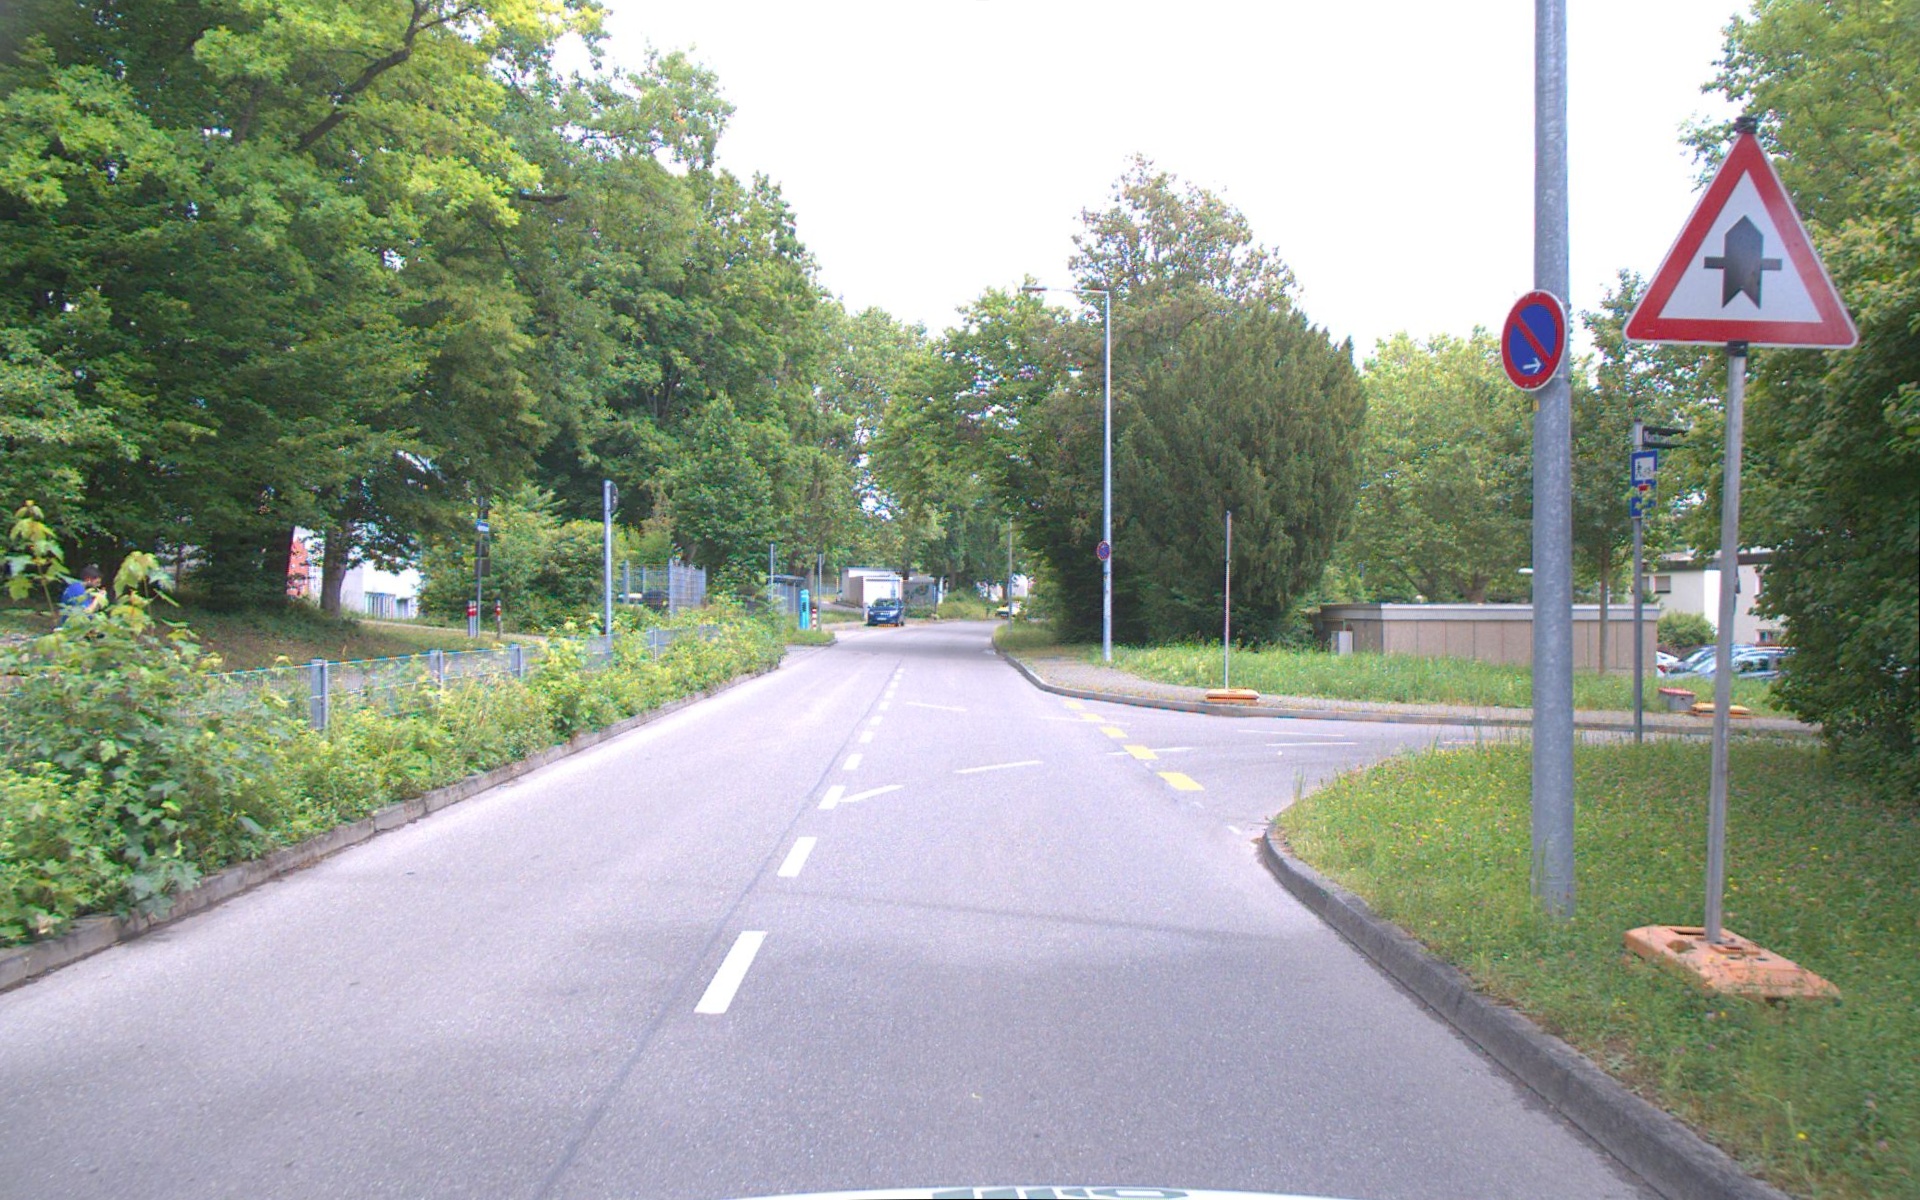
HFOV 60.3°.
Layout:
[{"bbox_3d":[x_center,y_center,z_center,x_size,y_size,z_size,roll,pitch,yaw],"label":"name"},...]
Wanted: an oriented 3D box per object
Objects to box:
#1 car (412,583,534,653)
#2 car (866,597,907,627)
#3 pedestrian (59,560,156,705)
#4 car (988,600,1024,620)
[{"bbox_3d":[-14.836,0.514,50.597,1.951,2.049,4.003,0,0,11],"label":"car"},{"bbox_3d":[-3.998,0.666,90.263,1.644,1.538,4.433,1,0,5],"label":"car"},{"bbox_3d":[-10.182,0.378,19.777,0.744,1.691,0.808,0,0,-3],"label":"pedestrian"},{"bbox_3d":[3.564,0.813,127.708,1.664,1.427,4.275,2,-1,16],"label":"car"}]
